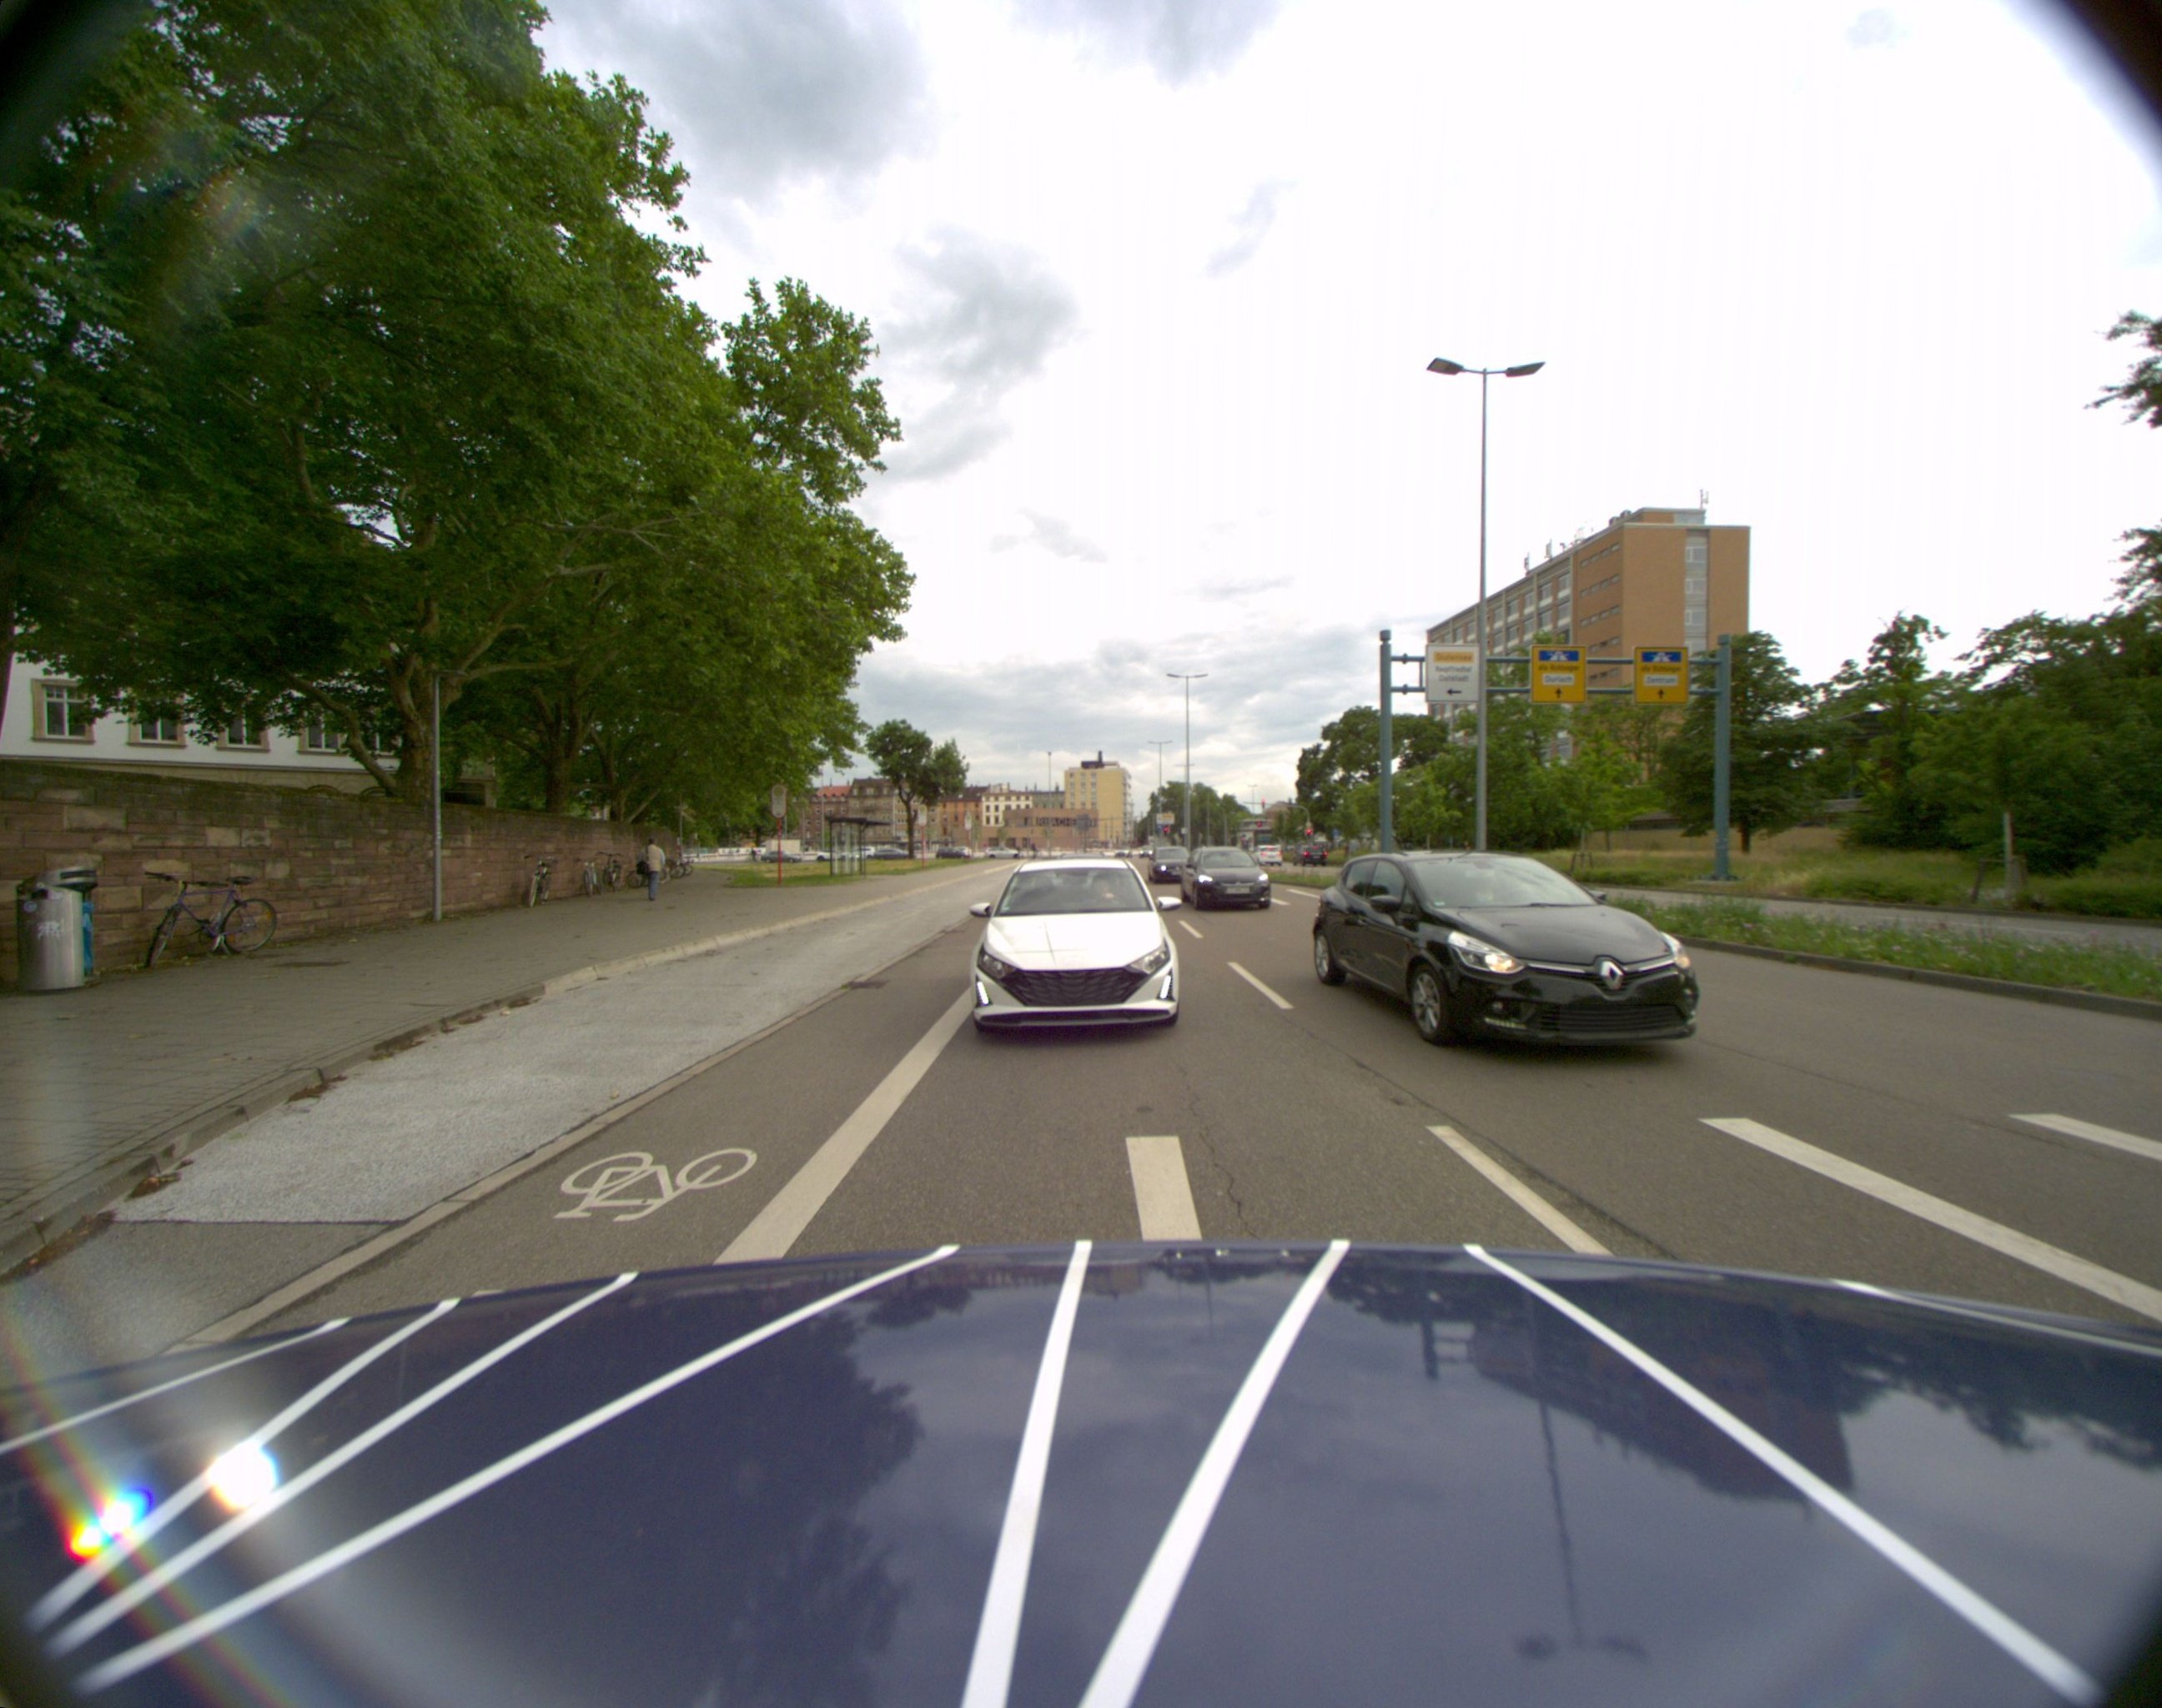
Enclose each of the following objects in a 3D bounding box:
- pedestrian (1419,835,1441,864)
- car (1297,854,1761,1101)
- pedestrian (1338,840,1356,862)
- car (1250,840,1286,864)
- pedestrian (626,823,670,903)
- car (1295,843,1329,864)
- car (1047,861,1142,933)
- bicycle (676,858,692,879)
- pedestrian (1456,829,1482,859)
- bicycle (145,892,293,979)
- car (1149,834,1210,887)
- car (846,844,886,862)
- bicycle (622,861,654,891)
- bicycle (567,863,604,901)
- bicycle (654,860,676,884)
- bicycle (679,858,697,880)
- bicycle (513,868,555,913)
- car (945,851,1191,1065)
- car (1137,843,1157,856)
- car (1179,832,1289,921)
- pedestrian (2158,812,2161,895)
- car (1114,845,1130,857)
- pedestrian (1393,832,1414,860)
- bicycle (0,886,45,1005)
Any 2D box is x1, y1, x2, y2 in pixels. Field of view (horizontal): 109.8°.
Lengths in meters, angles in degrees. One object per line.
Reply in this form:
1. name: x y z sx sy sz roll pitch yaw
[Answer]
1. pedestrian: 25.380 -0.328 55.266 0.882 2.002 1.220 -2 1 -7
2. car: 3.298 0.761 6.643 1.732 1.450 3.999 0 1 1
3. pedestrian: 25.522 -0.286 72.905 1.223 2.002 1.520 -2 1 0
4. car: 14.850 -0.187 60.523 1.893 1.763 3.999 -2 1 1
5. pedestrian: -11.047 0.219 19.392 0.784 2.002 0.887 1 2 -17
6. car: 18.055 -0.099 59.493 1.854 1.543 4.001 -1 1 7
7. car: 0.308 0.920 18.007 1.998 1.422 3.999 0 1 1
8. bicycle: -18.868 0.672 36.112 0.561 0.934 1.351 -1 1 -22
9. pedestrian: 25.632 -0.673 50.191 1.137 1.908 1.162 -2 1 4
10. bicycle: -10.610 0.962 9.425 0.291 0.880 1.609 -1 1 -12
11. car: 3.888 0.224 30.712 1.998 2.002 3.999 0 1 1
12. car: -26.257 -0.165 92.752 4.283 2.002 1.999 -2 1 -4
13. bicycle: -15.166 0.729 26.067 0.655 0.934 1.953 -1 1 -21
14. bicycle: -13.622 0.744 20.924 0.482 0.934 1.895 -1 1 -21
15. bicycle: -17.039 0.723 31.142 0.569 0.934 1.764 -1 1 -22
16. bicycle: -20.648 0.782 39.946 0.693 1.078 1.650 -1 1 -22
17. bicycle: -12.446 0.808 17.332 0.365 0.934 1.637 -1 1 -21
18. car: -0.066 0.764 7.614 1.813 1.533 3.999 0 1 1
19. car: 7.746 -0.546 89.716 1.999 1.536 3.999 0 1 -1
20. car: 3.703 0.484 19.131 1.998 2.002 3.999 0 1 1
21. pedestrian: 21.450 -0.026 14.379 0.990 1.616 0.813 -2 1 -2
22. car: 4.967 -0.390 91.596 1.606 1.360 3.578 -4 1 -1
23. pedestrian: 23.770 -0.602 56.024 0.882 2.002 1.220 -2 1 -7
24. bicycle: -9.980 0.851 6.156 0.478 1.070 2.081 0 1 -6
